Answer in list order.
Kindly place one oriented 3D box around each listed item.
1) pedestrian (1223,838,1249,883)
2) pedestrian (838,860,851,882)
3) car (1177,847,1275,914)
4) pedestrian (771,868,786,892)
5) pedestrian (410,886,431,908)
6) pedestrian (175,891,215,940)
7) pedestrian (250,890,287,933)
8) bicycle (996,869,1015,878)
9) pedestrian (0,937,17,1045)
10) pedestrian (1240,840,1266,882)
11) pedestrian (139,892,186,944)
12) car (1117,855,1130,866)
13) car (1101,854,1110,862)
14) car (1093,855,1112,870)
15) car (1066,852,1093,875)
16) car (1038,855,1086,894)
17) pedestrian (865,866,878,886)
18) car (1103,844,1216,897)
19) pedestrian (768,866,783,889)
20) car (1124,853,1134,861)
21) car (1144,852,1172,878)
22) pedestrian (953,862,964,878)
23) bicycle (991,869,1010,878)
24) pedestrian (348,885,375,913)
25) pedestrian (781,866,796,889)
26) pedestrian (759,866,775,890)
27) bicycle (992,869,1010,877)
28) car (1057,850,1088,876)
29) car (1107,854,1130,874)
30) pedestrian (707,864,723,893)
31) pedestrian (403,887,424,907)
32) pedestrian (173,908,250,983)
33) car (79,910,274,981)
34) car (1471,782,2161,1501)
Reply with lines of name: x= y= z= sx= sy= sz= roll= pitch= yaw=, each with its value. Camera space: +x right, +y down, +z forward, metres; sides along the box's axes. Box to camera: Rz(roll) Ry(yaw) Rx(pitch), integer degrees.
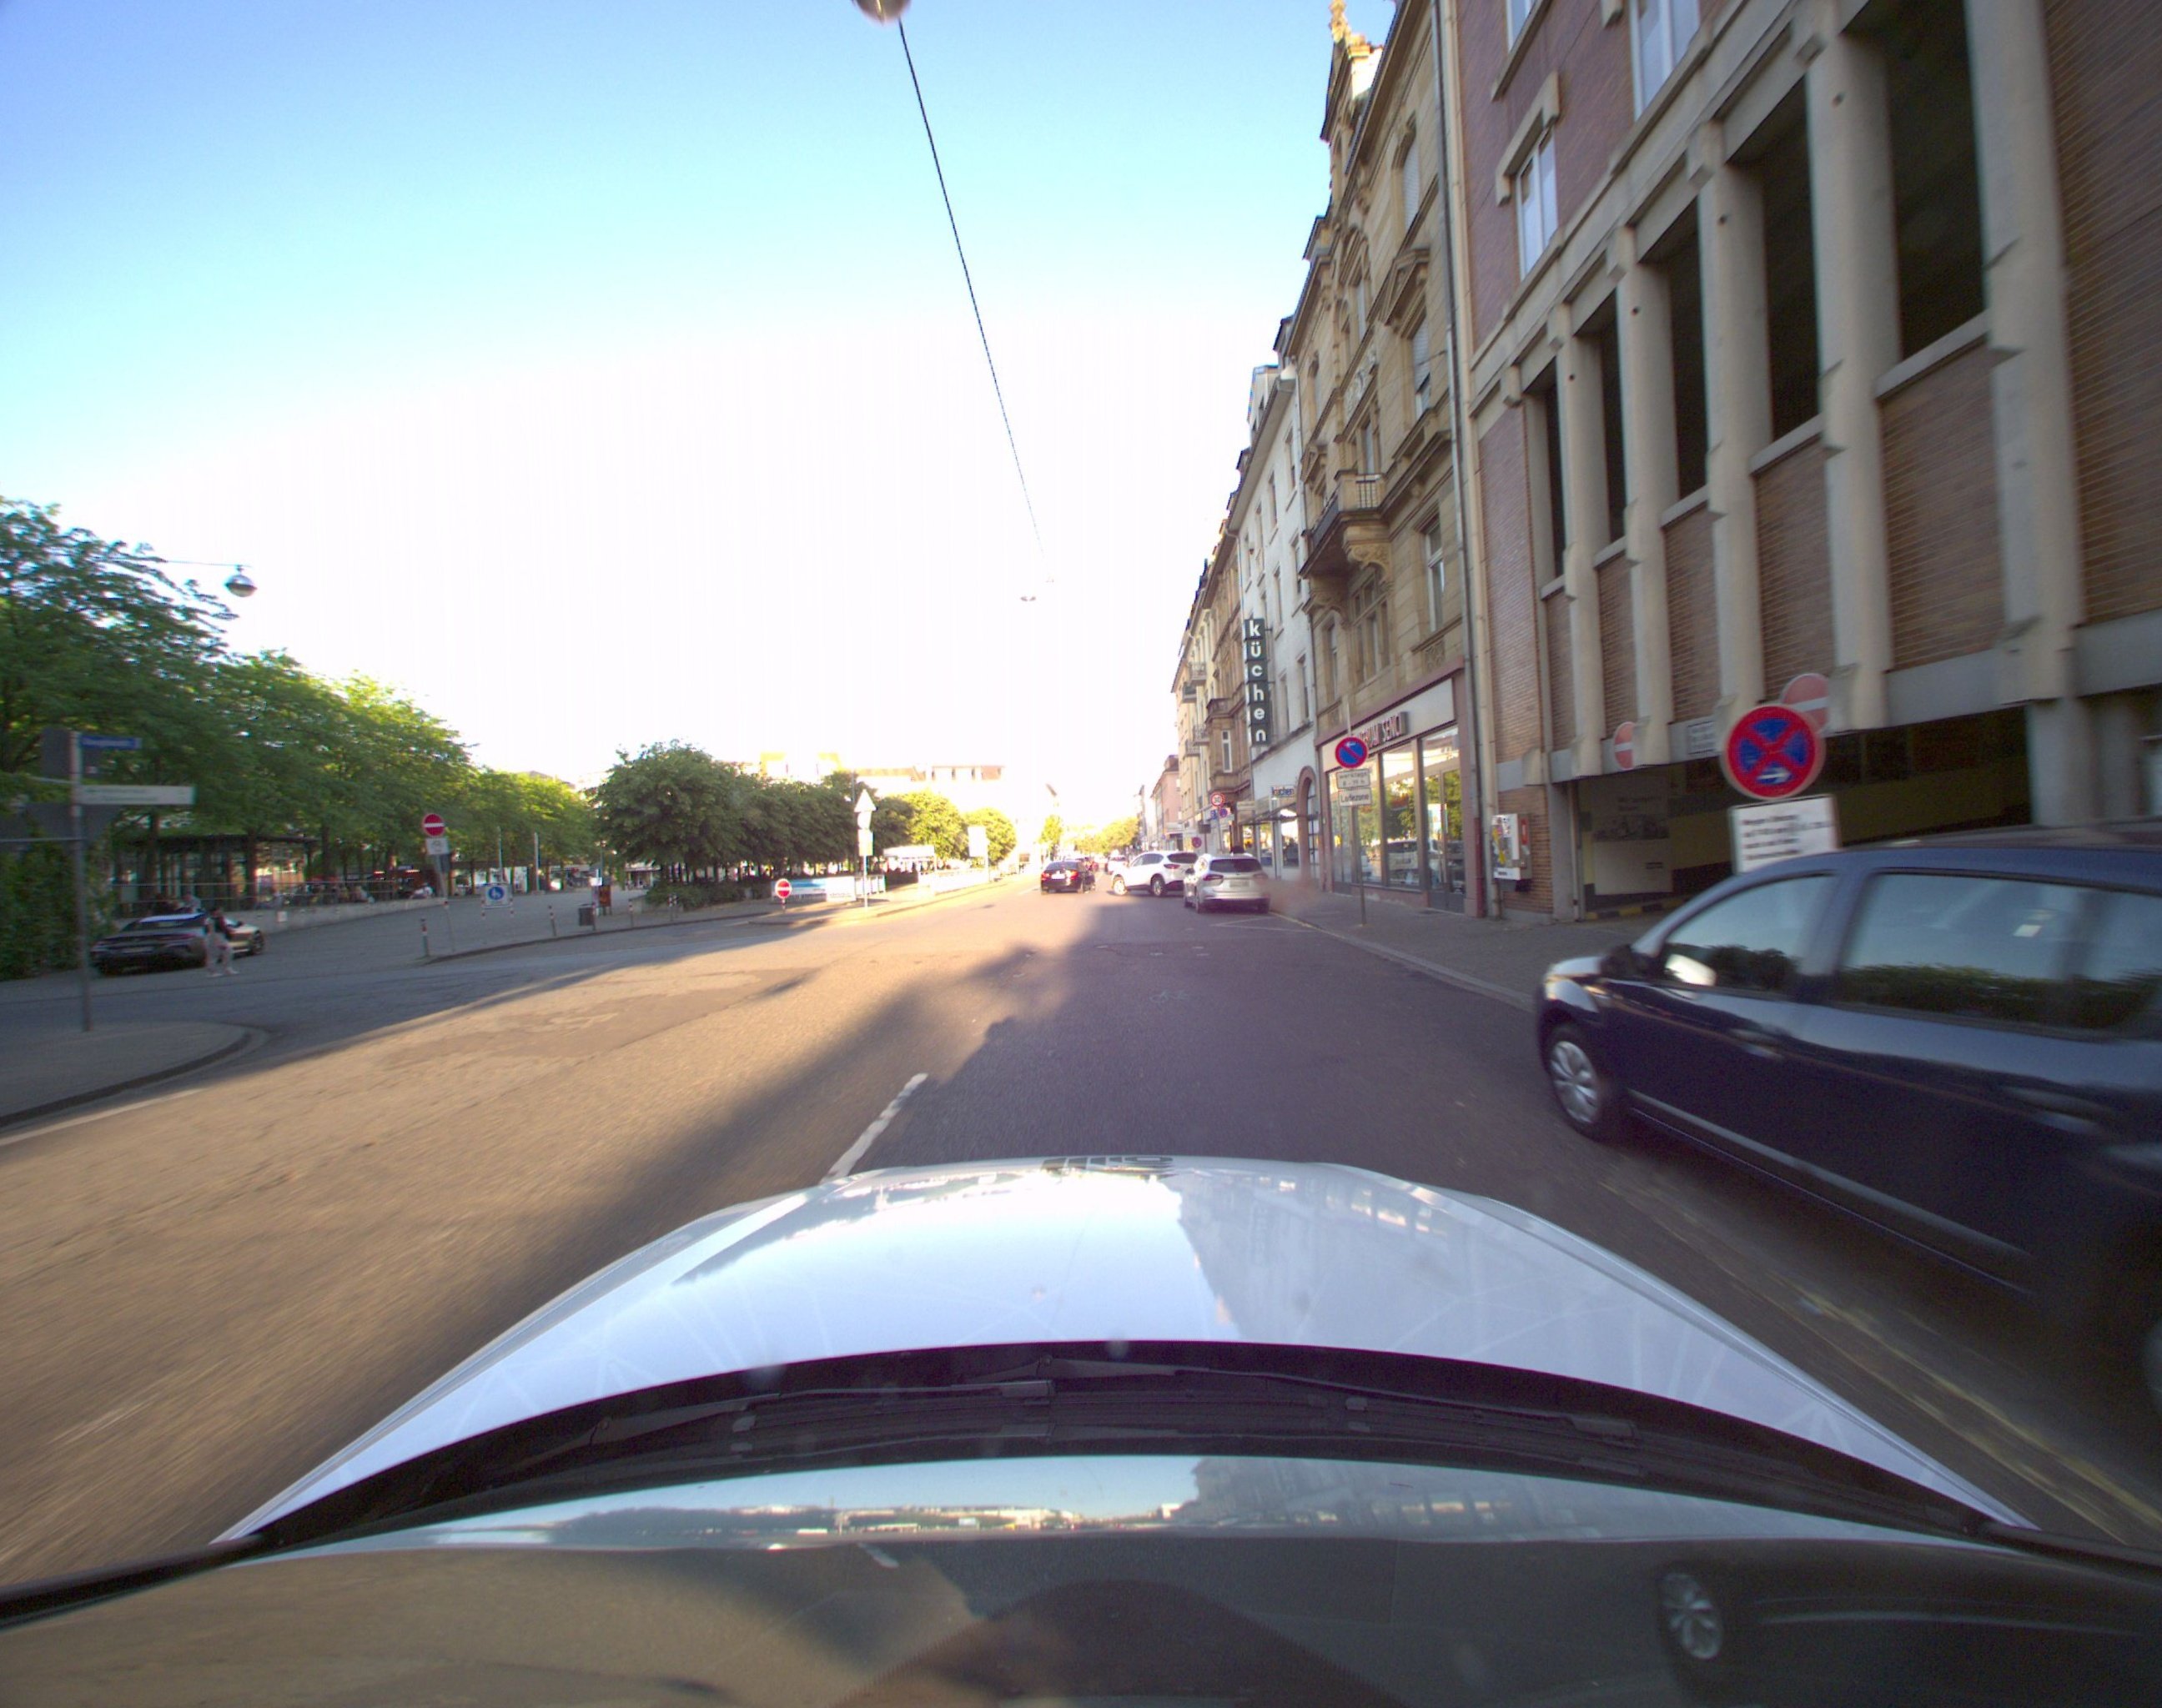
pedestrian: x=6.561 y=0.254 z=34.519 sx=0.769 sy=1.827 sz=1.011 roll=-4 pitch=0 yaw=1
pedestrian: x=-18.037 y=1.288 z=62.089 sx=0.671 sy=1.595 sz=0.680 roll=-2 pitch=0 yaw=21
car: x=3.692 y=0.648 z=21.525 sx=1.753 sy=1.536 sz=4.821 roll=-1 pitch=-1 yaw=0
pedestrian: x=-20.501 y=1.762 z=55.153 sx=0.671 sy=1.595 sz=0.571 roll=-2 pitch=0 yaw=21
pedestrian: x=-36.585 y=2.371 z=45.130 sx=0.716 sy=1.120 sz=0.606 roll=-3 pitch=0 yaw=-23
pedestrian: x=-29.860 y=2.070 z=27.455 sx=0.622 sy=1.586 sz=0.696 roll=-3 pitch=-2 yaw=-21
pedestrian: x=-31.289 y=2.195 z=31.371 sx=0.792 sy=1.586 sz=0.649 roll=-3 pitch=-2 yaw=-23
bicycle: x=-7.472 y=1.903 z=80.403 sx=1.820 sy=0.853 sz=0.483 roll=0 pitch=0 yaw=-2
pedestrian: x=-13.265 y=1.656 z=9.441 sx=0.826 sy=1.273 sz=0.747 roll=-3 pitch=-2 yaw=-7
pedestrian: x=7.290 y=0.285 z=34.594 sx=0.769 sy=1.711 sz=1.042 roll=-4 pitch=0 yaw=2
pedestrian: x=-29.382 y=2.036 z=26.063 sx=0.690 sy=1.586 sz=0.764 roll=-3 pitch=-2 yaw=-21
car: x=6.384 y=0.986 z=123.123 sx=1.889 sy=1.581 sz=3.853 roll=-1 pitch=0 yaw=2
car: x=5.394 y=0.881 z=178.153 sx=1.773 sy=1.547 sz=4.001 roll=-2 pitch=0 yaw=1
car: x=2.180 y=0.850 z=83.240 sx=1.889 sy=1.581 sz=3.853 roll=0 pitch=0 yaw=2
car: x=-0.092 y=0.724 z=63.567 sx=1.890 sy=1.649 sz=4.106 roll=-2 pitch=0 yaw=2
car: x=-0.781 y=0.873 z=36.126 sx=1.889 sy=1.581 sz=4.002 roll=-1 pitch=0 yaw=2
pedestrian: x=-16.959 y=1.800 z=65.851 sx=0.671 sy=1.595 sz=0.680 roll=-2 pitch=0 yaw=21
car: x=2.846 y=0.613 z=30.610 sx=2.006 sy=1.761 sz=4.424 roll=-3 pitch=0 yaw=-29
pedestrian: x=-21.885 y=1.662 z=58.398 sx=0.783 sy=1.595 sz=0.571 roll=-2 pitch=0 yaw=21
car: x=10.337 y=0.710 z=174.718 sx=1.889 sy=1.581 sz=3.853 roll=-3 pitch=0 yaw=2
car: x=5.203 y=0.744 z=55.505 sx=1.723 sy=1.651 sz=4.287 roll=-1 pitch=-1 yaw=3
pedestrian: x=-12.368 y=1.583 z=82.204 sx=0.783 sy=1.595 sz=0.571 roll=-2 pitch=0 yaw=21
bicycle: x=-7.768 y=1.901 z=78.607 sx=1.820 sy=0.853 sz=0.483 roll=0 pitch=0 yaw=-2
pedestrian: x=-34.462 y=2.169 z=39.022 sx=0.792 sy=1.279 sz=0.649 roll=-3 pitch=-2 yaw=-23
pedestrian: x=-20.884 y=1.659 z=58.197 sx=0.783 sy=1.595 sz=0.571 roll=-2 pitch=0 yaw=21
pedestrian: x=-21.359 y=1.655 z=55.347 sx=0.783 sy=1.595 sz=0.571 roll=-2 pitch=0 yaw=21
bicycle: x=-7.976 y=1.906 z=81.331 sx=1.820 sy=0.853 sz=0.483 roll=0 pitch=0 yaw=-2
car: x=-0.533 y=0.597 z=55.256 sx=1.889 sy=1.649 sz=4.106 roll=-2 pitch=0 yaw=2
car: x=3.171 y=0.855 z=69.846 sx=1.889 sy=1.581 sz=4.002 roll=-1 pitch=0 yaw=2
pedestrian: x=-21.331 y=1.420 z=47.471 sx=0.703 sy=1.595 sz=0.673 roll=-2 pitch=0 yaw=-16
pedestrian: x=-36.291 y=2.337 z=44.284 sx=0.716 sy=1.059 sz=0.606 roll=-3 pitch=0 yaw=-23
pedestrian: x=-19.826 y=2.059 z=18.588 sx=0.901 sy=1.566 sz=0.762 roll=-3 pitch=0 yaw=-23
car: x=-23.660 y=2.312 z=21.570 sx=2.006 sy=1.317 sz=4.486 roll=-4 pitch=0 yaw=-29
car: x=3.273 y=0.581 z=3.064 sx=1.752 sy=1.536 sz=4.004 roll=-6 pitch=0 yaw=3
